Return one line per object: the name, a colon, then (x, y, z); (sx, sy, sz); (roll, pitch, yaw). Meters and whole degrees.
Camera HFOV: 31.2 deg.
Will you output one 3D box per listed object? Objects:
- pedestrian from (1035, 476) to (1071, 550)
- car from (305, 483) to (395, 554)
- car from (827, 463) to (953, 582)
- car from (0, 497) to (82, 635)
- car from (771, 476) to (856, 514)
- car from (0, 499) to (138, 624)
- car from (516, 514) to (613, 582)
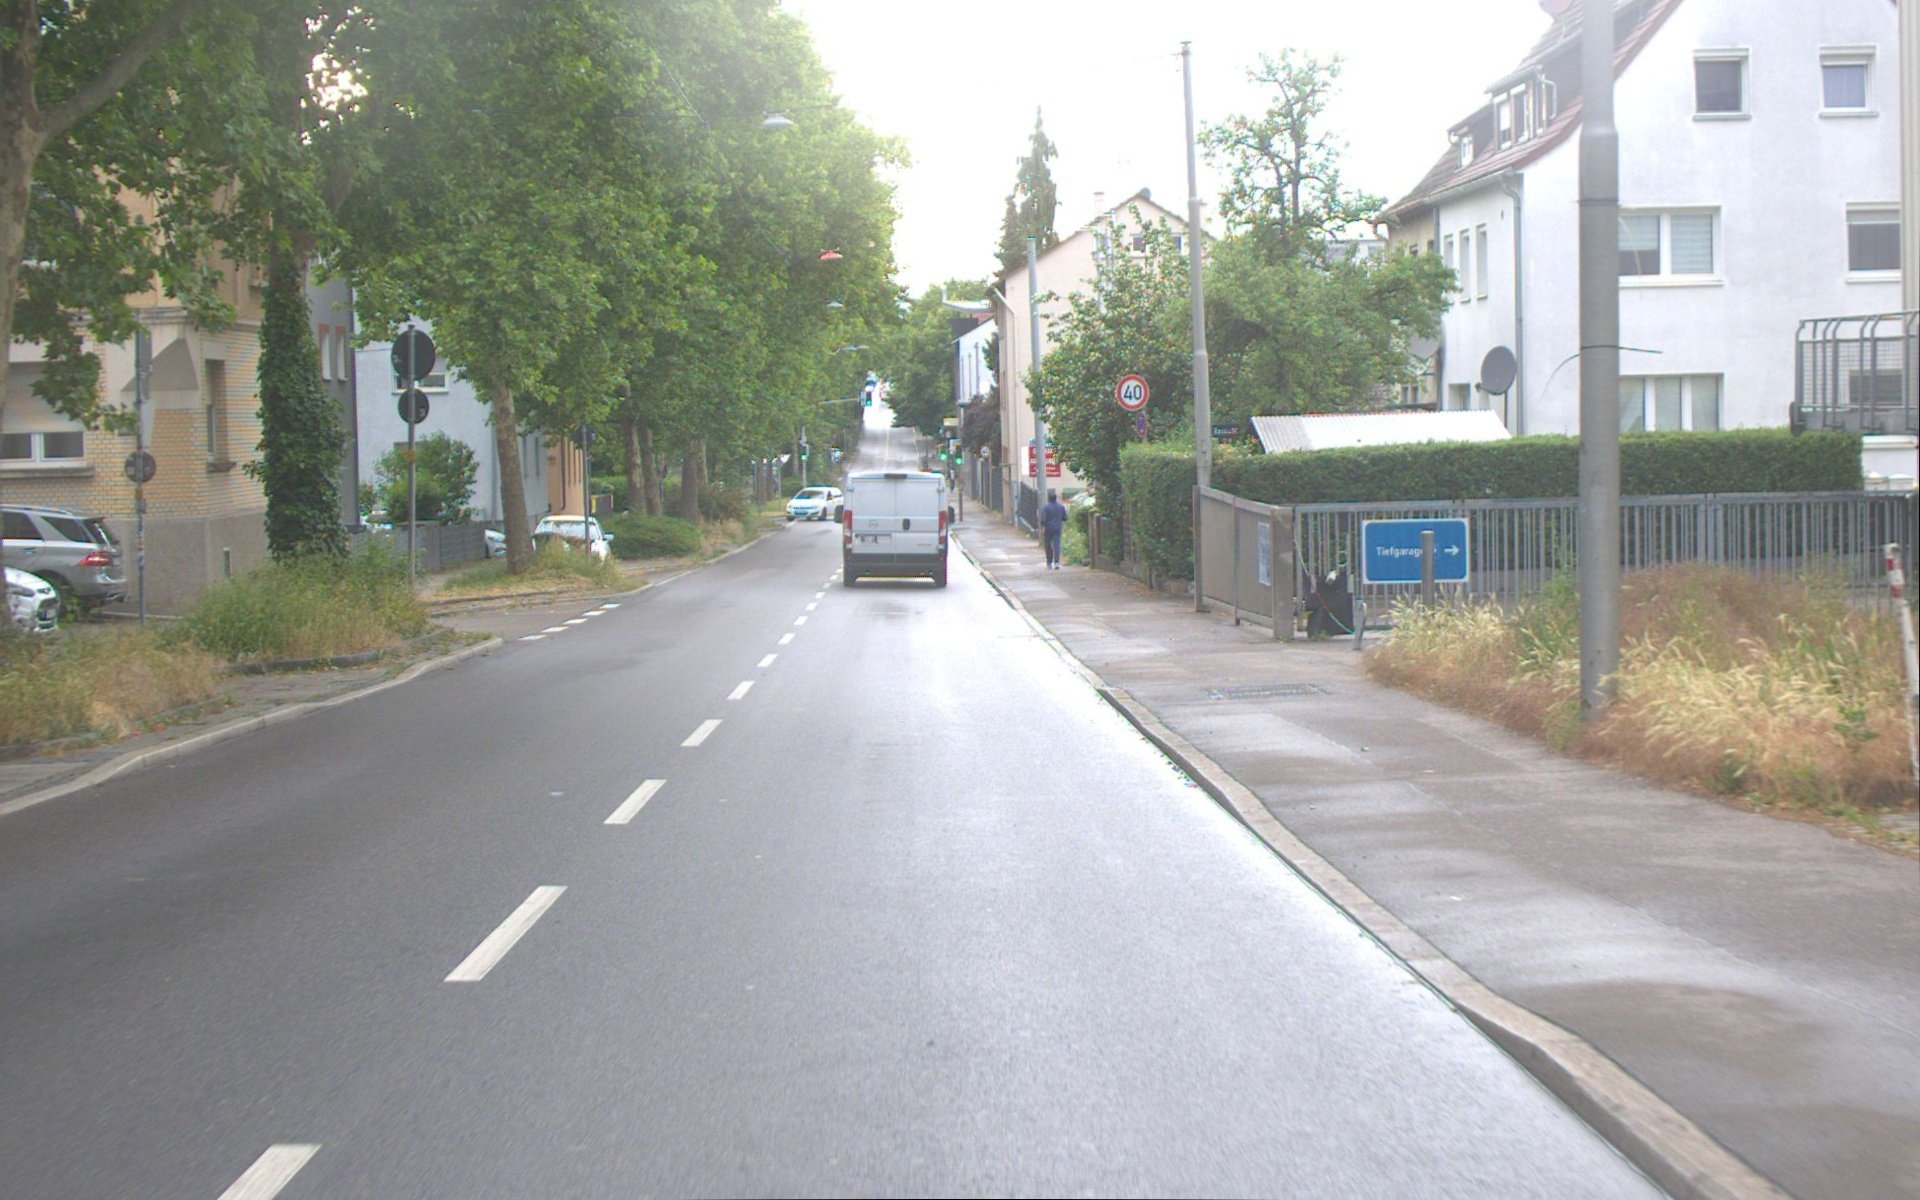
pedestrian: (2.143, -1.998, 79.215); (0.816, 1.692, 0.729); (0, 1, 1)
car: (-17.255, -2.330, 97.337); (1.875, 1.888, 4.001); (-1, 3, -1)
car: (-1.438, -1.579, 68.220); (2.346, 2.152, 4.778); (-1, 3, -2)
car: (-14.592, -0.464, 47.912); (4.196, 1.885, 2.000); (-1, 1, -1)
car: (-6.631, -4.746, 156.086); (1.996, 1.703, 4.254); (0, 1, 27)
car: (-15.091, -0.596, 53.340); (4.196, 1.885, 2.000); (-1, 1, -1)
car: (-8.764, -1.180, 76.462); (1.993, 1.447, 4.211); (-1, 2, -5)
